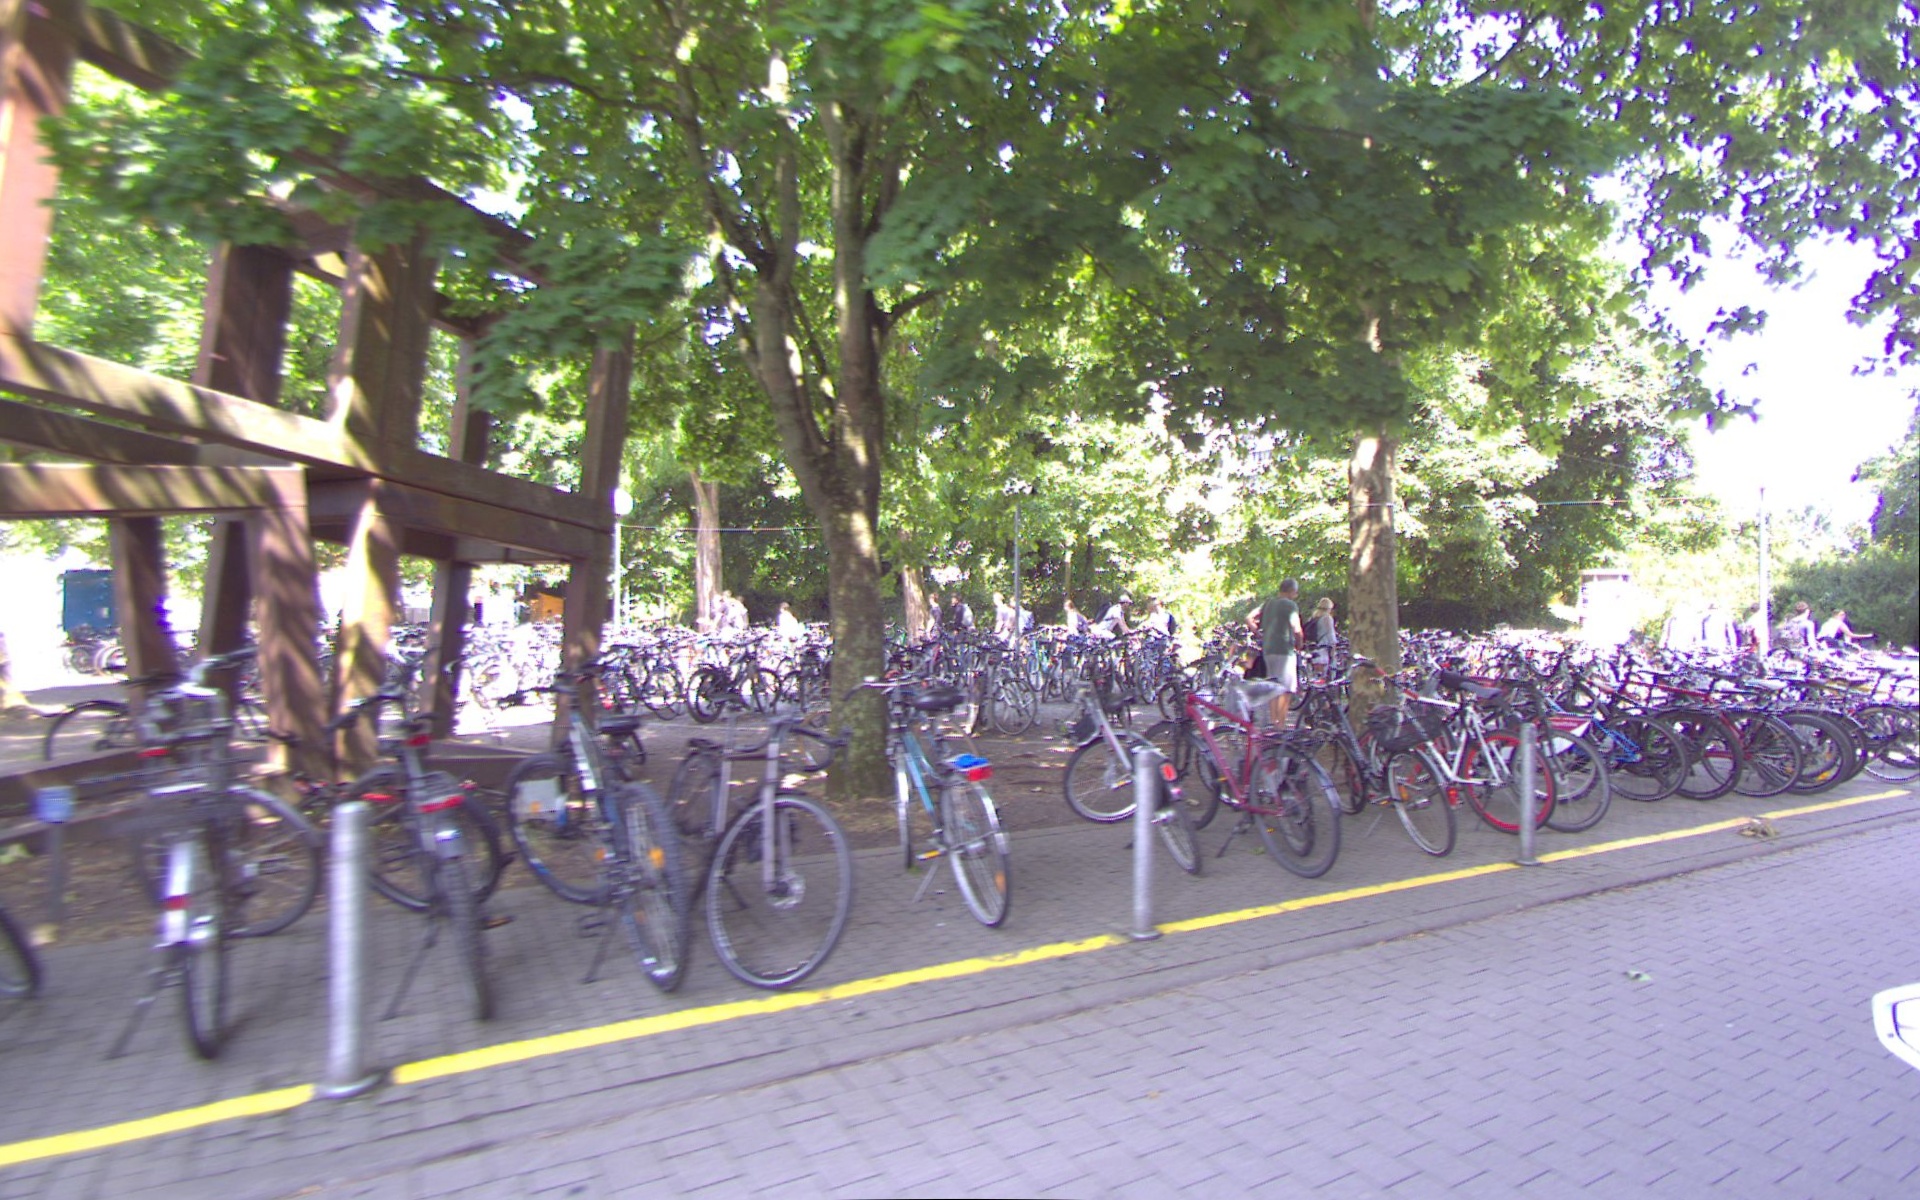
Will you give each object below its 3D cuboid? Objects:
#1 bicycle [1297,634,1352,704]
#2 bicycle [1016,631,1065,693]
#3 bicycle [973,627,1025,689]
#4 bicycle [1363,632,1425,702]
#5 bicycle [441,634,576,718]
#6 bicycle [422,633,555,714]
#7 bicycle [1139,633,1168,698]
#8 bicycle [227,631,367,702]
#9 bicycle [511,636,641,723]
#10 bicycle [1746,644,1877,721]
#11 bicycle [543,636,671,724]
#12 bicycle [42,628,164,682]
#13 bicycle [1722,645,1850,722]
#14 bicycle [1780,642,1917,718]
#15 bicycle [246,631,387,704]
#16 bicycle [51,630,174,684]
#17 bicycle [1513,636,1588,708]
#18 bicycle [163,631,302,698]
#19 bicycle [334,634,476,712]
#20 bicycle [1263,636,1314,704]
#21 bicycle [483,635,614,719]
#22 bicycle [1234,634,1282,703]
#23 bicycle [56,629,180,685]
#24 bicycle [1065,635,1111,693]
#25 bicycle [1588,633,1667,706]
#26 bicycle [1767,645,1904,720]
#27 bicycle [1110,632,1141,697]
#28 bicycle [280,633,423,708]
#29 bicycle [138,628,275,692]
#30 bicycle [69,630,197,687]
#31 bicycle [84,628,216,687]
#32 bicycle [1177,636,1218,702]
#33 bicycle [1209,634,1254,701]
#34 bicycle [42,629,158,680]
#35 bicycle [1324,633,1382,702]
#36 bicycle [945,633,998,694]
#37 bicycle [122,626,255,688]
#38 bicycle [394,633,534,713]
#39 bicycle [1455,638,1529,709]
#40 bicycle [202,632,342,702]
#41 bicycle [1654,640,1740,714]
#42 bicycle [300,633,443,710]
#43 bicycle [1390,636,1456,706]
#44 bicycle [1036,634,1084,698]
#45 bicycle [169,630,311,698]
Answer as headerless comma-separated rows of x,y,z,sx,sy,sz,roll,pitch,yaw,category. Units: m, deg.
6.384,1.182,17.646,0.464,1.098,1.700,1,0,5,bicycle
1.558,1.159,19.271,0.465,1.098,1.699,1,0,21,bicycle
0.778,1.099,19.461,0.465,1.098,1.699,1,0,21,bicycle
7.541,1.141,17.517,0.464,1.098,1.700,1,0,5,bicycle
-6.681,1.097,14.972,0.494,1.123,1.903,1,0,29,bicycle
-7.173,1.091,15.381,0.494,1.123,1.903,1,0,29,bicycle
3.595,1.182,18.593,0.464,1.098,1.700,1,0,12,bicycle
-11.356,1.107,17.288,0.493,1.123,2.028,1,0,27,bicycle
-5.524,1.113,14.576,0.493,1.123,1.905,1,0,26,bicycle
13.786,1.310,16.319,0.465,1.098,1.696,1,0,-10,bicycle
-5.016,1.107,14.402,0.493,1.123,1.905,1,0,26,bicycle
-19.333,1.216,22.716,0.494,1.123,2.025,1,0,32,bicycle
13.309,1.317,16.243,0.465,1.098,1.696,1,0,-10,bicycle
14.713,1.305,16.692,0.466,1.125,1.693,1,0,-17,bicycle
-10.859,1.109,17.026,0.493,1.123,2.028,1,0,27,bicycle
-18.893,1.245,22.444,0.494,1.123,2.025,1,0,32,bicycle
10.006,1.193,17.085,0.464,1.098,1.701,1,0,8,bicycle
-13.339,1.158,18.481,0.494,1.123,2.025,1,0,32,bicycle
-8.725,1.114,15.887,0.494,1.123,2.002,1,0,29,bicycle
5.809,1.215,17.826,0.464,1.098,1.700,1,0,5,bicycle
-6.079,1.104,14.957,0.494,1.123,1.903,1,0,29,bicycle
5.263,1.188,17.816,0.464,1.098,1.700,1,0,5,bicycle
-18.404,1.220,22.012,0.494,1.123,2.025,1,0,32,bicycle
2.387,1.165,18.610,0.443,0.975,1.740,1,0,21,bicycle
11.078,1.128,16.727,0.464,1.098,1.701,1,0,11,bicycle
14.276,1.318,16.440,0.466,1.098,1.718,1,0,-15,bicycle
3.108,1.181,18.771,0.464,1.098,1.700,1,0,12,bicycle
-9.924,1.116,16.468,0.494,1.123,2.002,1,0,29,bicycle
-14.309,1.116,19.139,0.494,1.123,2.025,1,0,32,bicycle
-17.382,1.200,21.168,0.494,1.123,2.025,1,0,32,bicycle
-16.483,1.143,20.494,0.494,1.123,2.025,1,0,32,bicycle
4.311,1.227,18.332,0.464,1.098,1.700,1,0,5,bicycle
4.886,1.191,18.158,0.464,1.098,1.700,1,0,5,bicycle
-20.189,1.266,23.625,0.495,1.123,2.020,1,0,40,bicycle
6.875,1.158,17.624,0.464,1.098,1.700,1,0,5,bicycle
0.247,1.227,19.713,0.465,1.098,1.699,1,0,21,bicycle
-15.199,1.098,19.844,0.494,1.123,2.025,1,0,32,bicycle
-7.654,1.093,15.609,0.494,1.123,2.002,1,0,29,bicycle
9.046,1.221,17.139,0.464,1.098,1.700,1,0,5,bicycle
-12.031,1.141,17.637,0.493,1.123,2.028,1,0,27,bicycle
12.226,1.248,16.710,0.464,1.098,1.701,1,0,11,bicycle
-9.421,1.115,16.166,0.494,1.123,2.002,1,0,29,bicycle
8.030,1.202,17.479,0.464,1.098,1.700,1,0,5,bicycle
1.888,1.209,18.788,0.465,1.098,1.699,1,0,21,bicycle
-12.940,1.126,18.120,0.494,1.123,2.025,1,0,32,bicycle
